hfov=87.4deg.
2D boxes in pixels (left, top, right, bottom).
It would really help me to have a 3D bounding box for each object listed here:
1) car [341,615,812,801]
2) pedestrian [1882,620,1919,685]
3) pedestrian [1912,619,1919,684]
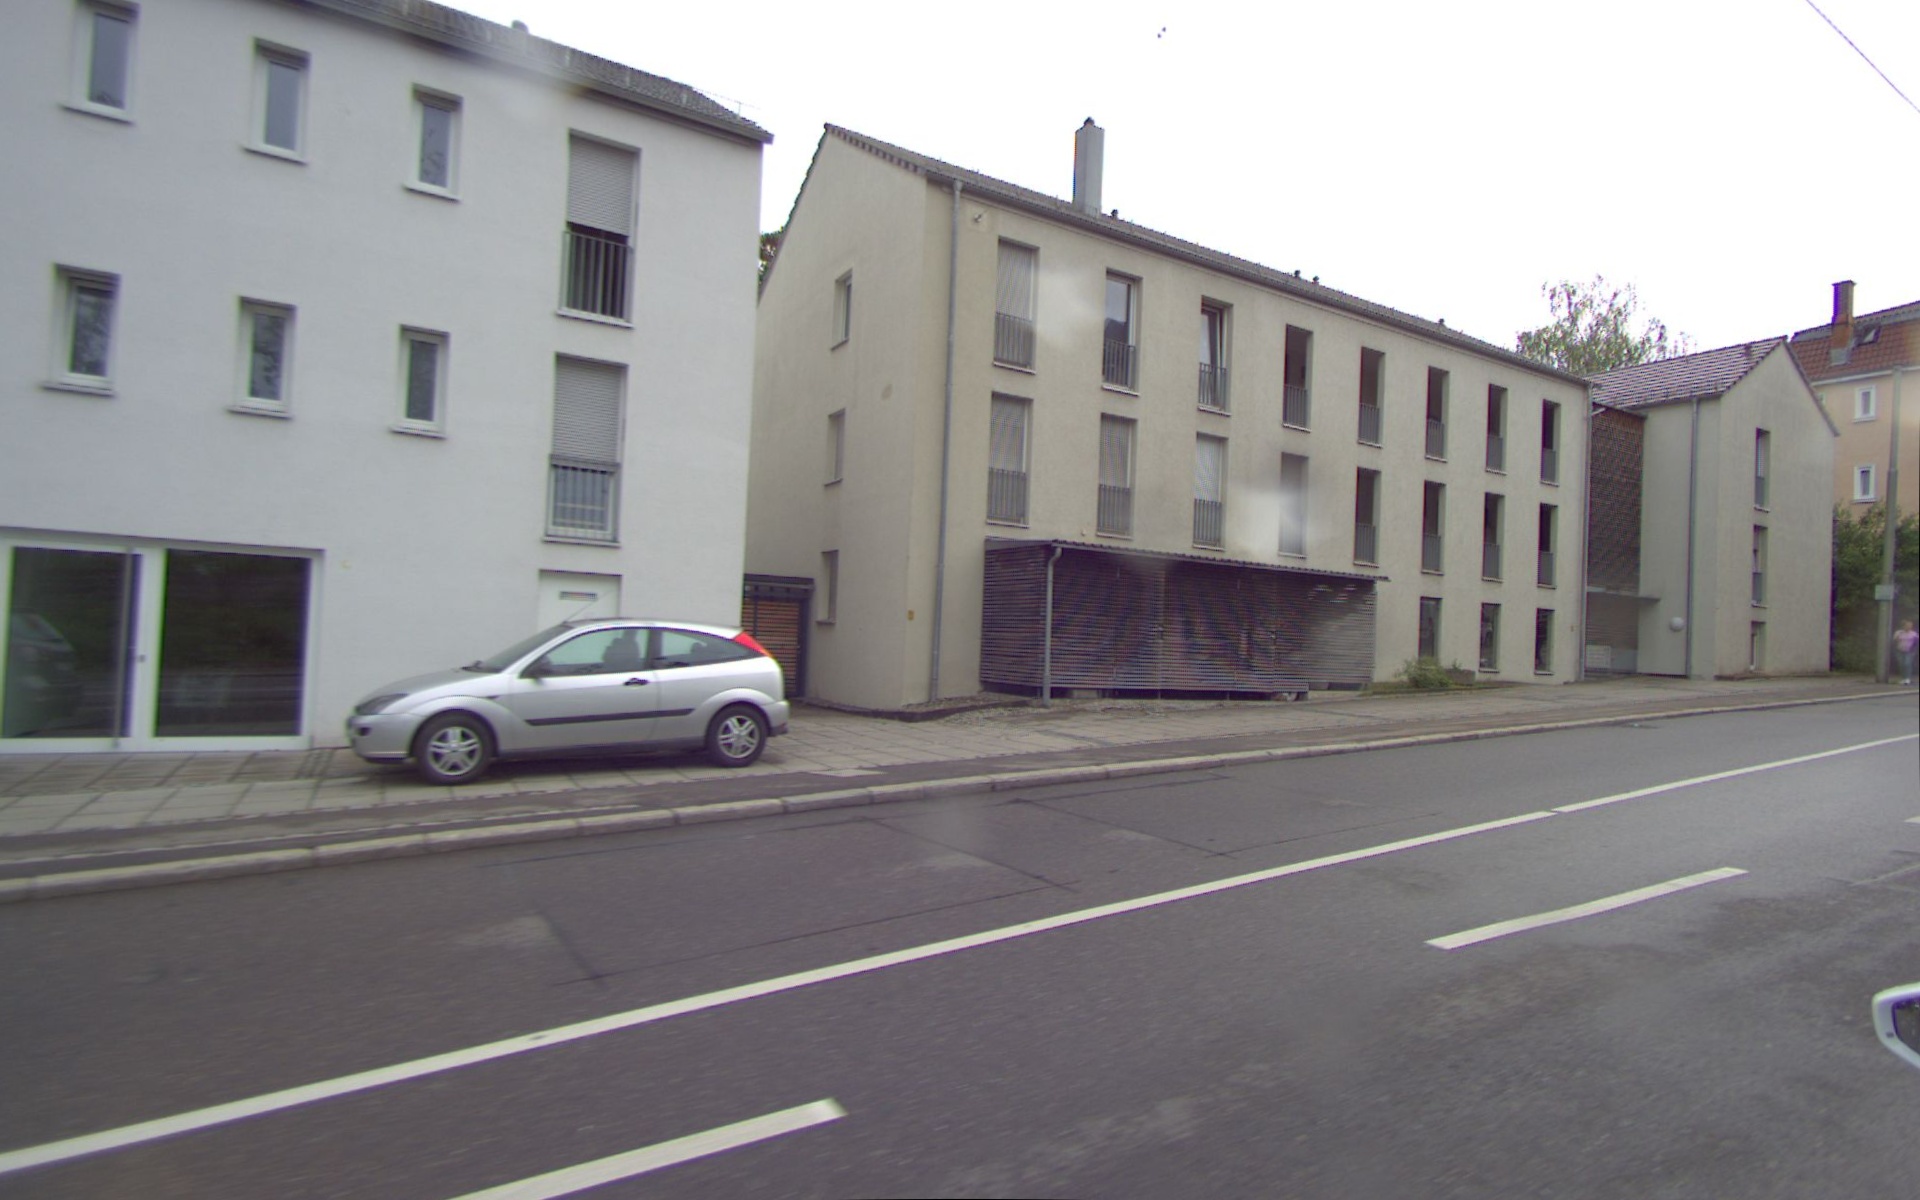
[{"bbox_3d":[-3.750,0.948,10.112,4.129,1.528,1.737,1,-1,-31],"label":"car"},{"bbox_3d":[25.775,1.410,27.418,0.900,1.729,0.637,1,0,-29],"label":"pedestrian"},{"bbox_3d":[25.957,1.373,26.733,0.900,1.729,0.637,1,0,-29],"label":"pedestrian"}]
